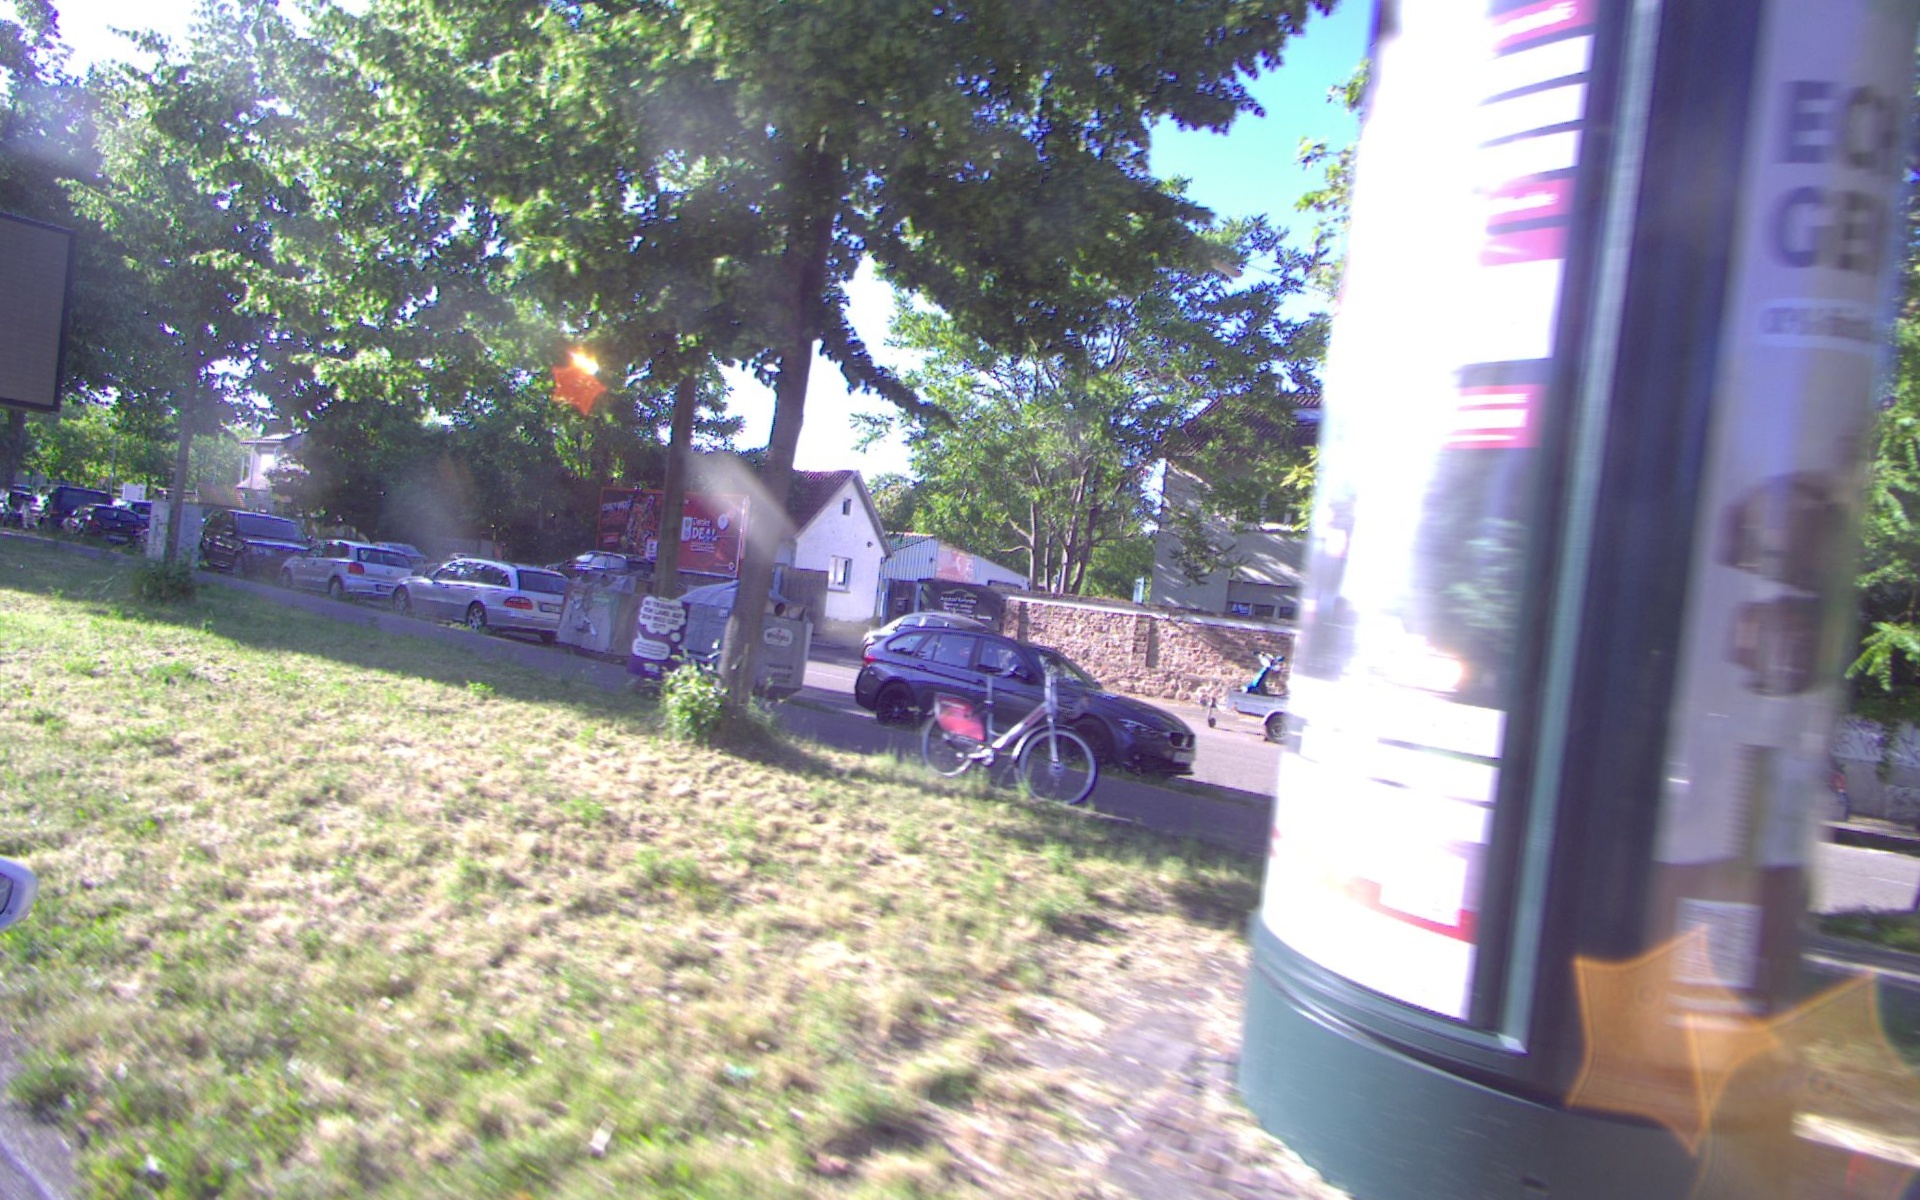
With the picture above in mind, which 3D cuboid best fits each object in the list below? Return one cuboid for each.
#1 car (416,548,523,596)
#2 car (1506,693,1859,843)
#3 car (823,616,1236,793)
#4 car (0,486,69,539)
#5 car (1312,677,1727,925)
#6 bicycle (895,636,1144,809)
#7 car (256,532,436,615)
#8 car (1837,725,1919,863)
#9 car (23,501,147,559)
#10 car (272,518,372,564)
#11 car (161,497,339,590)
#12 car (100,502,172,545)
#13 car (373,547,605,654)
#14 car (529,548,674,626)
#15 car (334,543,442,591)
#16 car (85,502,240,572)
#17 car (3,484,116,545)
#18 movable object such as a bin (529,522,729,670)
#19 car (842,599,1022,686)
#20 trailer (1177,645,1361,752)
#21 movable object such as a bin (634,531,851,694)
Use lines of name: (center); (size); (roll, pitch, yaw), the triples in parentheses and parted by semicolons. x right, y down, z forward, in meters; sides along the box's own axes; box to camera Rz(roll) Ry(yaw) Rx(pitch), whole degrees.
car: (-18.221, -1.057, 37.318); (4.246, 1.389, 1.730); (6, 1, 36)
car: (11.392, 2.557, 16.198); (4.257, 1.502, 1.993); (6, 1, 36)
car: (0.739, 1.202, 12.473); (4.673, 1.400, 2.001); (6, -3, 37)
car: (-37.368, -3.536, 40.023); (3.937, 1.703, 1.873); (6, -2, 35)
car: (5.013, 1.689, 9.198); (2.941, 1.517, 1.664); (6, -2, 34)
bicycle: (0.440, 0.935, 8.042); (1.873, 1.058, 0.493); (6, -2, 33)
car: (-14.296, -0.631, 23.401); (3.933, 1.405, 1.875); (6, -2, 31)
car: (14.619, 2.883, 13.823); (3.421, 1.629, 1.993); (6, 3, 31)
car: (-28.897, -2.312, 33.200); (3.933, 1.383, 1.875); (6, -2, 31)
car: (-28.015, -2.587, 44.106); (4.614, 1.566, 1.872); (6, 0, 33)
car: (-18.542, -1.489, 26.210); (4.811, 1.841, 1.875); (6, -2, 31)
car: (-46.872, -4.374, 57.200); (3.935, 2.039, 1.994); (6, 1, 33)
car: (-9.619, -0.028, 20.382); (4.976, 1.541, 1.874); (6, -2, 35)
car: (-11.616, -0.446, 32.487); (4.614, 2.028, 1.872); (6, 1, 33)
car: (-23.536, -1.377, 41.331); (4.614, 1.502, 1.872); (6, 1, 33)
car: (-23.179, -1.837, 29.200); (4.820, 1.450, 1.875); (6, -2, 31)
car: (-32.687, -3.097, 36.509); (3.933, 1.703, 1.875); (6, -2, 31)
movable object such as a bin: (-5.420, -0.051, 16.543); (2.103, 2.036, 2.084); (6, -2, 35)
car: (-0.711, 1.020, 24.984); (3.935, 1.661, 1.994); (6, 2, 33)
trailer: (6.131, 1.887, 19.995); (2.976, 1.661, 1.730); (6, 1, 36)
movable object such as a bin: (-3.209, 0.202, 14.972); (2.103, 2.036, 2.084); (6, -2, 35)
